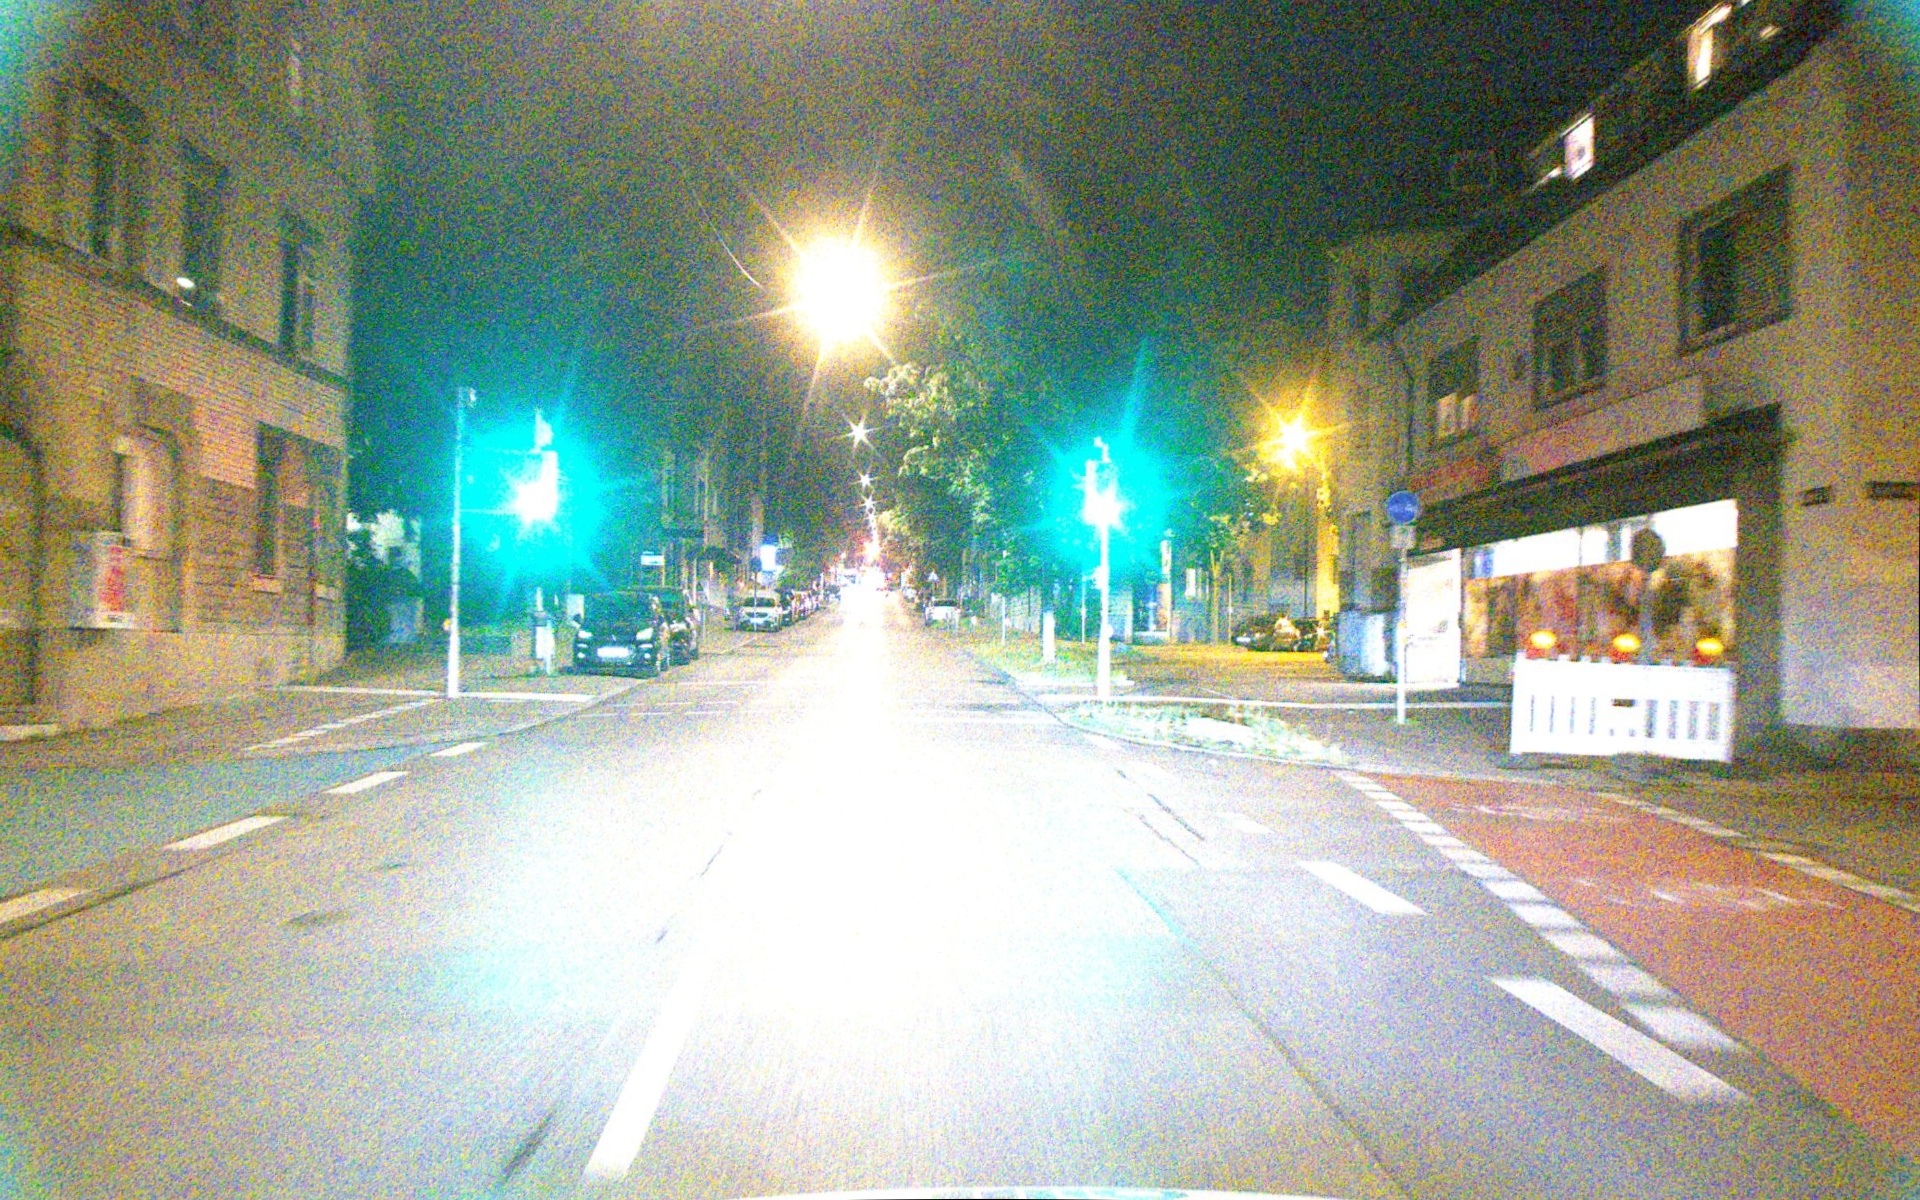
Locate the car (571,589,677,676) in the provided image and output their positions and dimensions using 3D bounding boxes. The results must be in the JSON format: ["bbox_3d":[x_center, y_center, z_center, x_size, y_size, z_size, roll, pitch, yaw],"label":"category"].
[{"bbox_3d":[-6.445,0.597,32.034,1.616,1.541,3.697,2,0,-6],"label":"car"}]

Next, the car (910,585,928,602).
[{"bbox_3d":[-4.260,-0.689,170.507,1.776,1.622,4.271,0,1,-3],"label":"car"}]

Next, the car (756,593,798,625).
[{"bbox_3d":[-8.830,0.409,80.108,1.799,1.472,4.541,1,1,-4],"label":"car"}]

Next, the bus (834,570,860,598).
[{"bbox_3d":[-13.653,-2.007,200.614,2.781,3.233,10.493,2,1,-3],"label":"bus"}]

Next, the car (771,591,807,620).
[{"bbox_3d":[-9.694,0.304,93.841,1.827,1.518,4.277,2,0,-4],"label":"car"}]

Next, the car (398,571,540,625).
[{"bbox_3d":[-15.712,-0.048,52.992,3.903,1.450,1.763,4,0,7],"label":"car"}]

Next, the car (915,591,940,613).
[{"bbox_3d":[-2.403,0.108,121.775,1.727,1.502,4.078,-1,1,-2],"label":"car"}]

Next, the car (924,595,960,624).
[{"bbox_3d":[-0.983,0.501,88.490,1.736,1.473,4.017,0,0,-3],"label":"car"}]

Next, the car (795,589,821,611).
[{"bbox_3d":[-10.844,-0.020,118.045,1.605,1.524,2.764,1,0,-1],"label":"car"}]

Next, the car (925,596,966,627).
[{"bbox_3d":[-0.773,0.556,83.240,1.808,1.442,4.642,-2,0,-3],"label":"car"}]

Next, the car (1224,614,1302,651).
[{"bbox_3d":[12.645,1.368,68.938,1.765,1.442,3.824,2,0,34],"label":"car"}]

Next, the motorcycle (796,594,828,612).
[{"bbox_3d":[-10.074,0.204,112.380,2.161,1.150,0.714,1,1,30],"label":"motorcycle"}]

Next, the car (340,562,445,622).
[{"bbox_3d":[-16.487,-0.219,48.230,1.722,1.564,4.184,4,0,-4],"label":"car"}]

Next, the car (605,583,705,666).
[{"bbox_3d":[-6.852,0.500,37.539,1.813,1.679,4.666,2,1,-6],"label":"car"}]

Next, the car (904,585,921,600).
[{"bbox_3d":[-5.263,-0.821,183.851,1.831,1.553,4.148,0,1,-3],"label":"car"}]

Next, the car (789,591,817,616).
[{"bbox_3d":[-10.057,0.180,106.114,1.670,1.517,4.225,0,1,-4],"label":"car"}]

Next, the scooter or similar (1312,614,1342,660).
[{"bbox_3d":[9.603,0.959,43.285,0.488,1.166,1.666,-2,-2,21],"label":"scooter or similar"}]

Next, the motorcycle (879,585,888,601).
[{"bbox_3d":[-8.658,-0.800,187.322,0.912,1.782,2.623,2,0,-3],"label":"motorcycle"}]

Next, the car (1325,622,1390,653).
[{"bbox_3d":[18.895,1.770,78.547,1.739,1.364,3.906,2,0,34],"label":"car"}]

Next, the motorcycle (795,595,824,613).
[{"bbox_3d":[-10.031,0.259,110.362,0.710,1.167,2.172,0,1,-45],"label":"motorcycle"}]

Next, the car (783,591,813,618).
[{"bbox_3d":[-9.600,0.268,98.393,1.589,1.518,3.778,2,0,-4],"label":"car"}]

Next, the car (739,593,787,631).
[{"bbox_3d":[-8.242,0.483,69.444,1.779,1.510,4.344,1,0,-4],"label":"car"}]

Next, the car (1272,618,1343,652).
[{"bbox_3d":[15.487,1.562,73.599,1.765,1.442,3.824,2,0,34],"label":"car"}]

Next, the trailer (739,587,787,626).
[{"bbox_3d":[-8.795,0.285,74.147,1.604,1.668,3.440,2,0,2],"label":"trailer"}]
